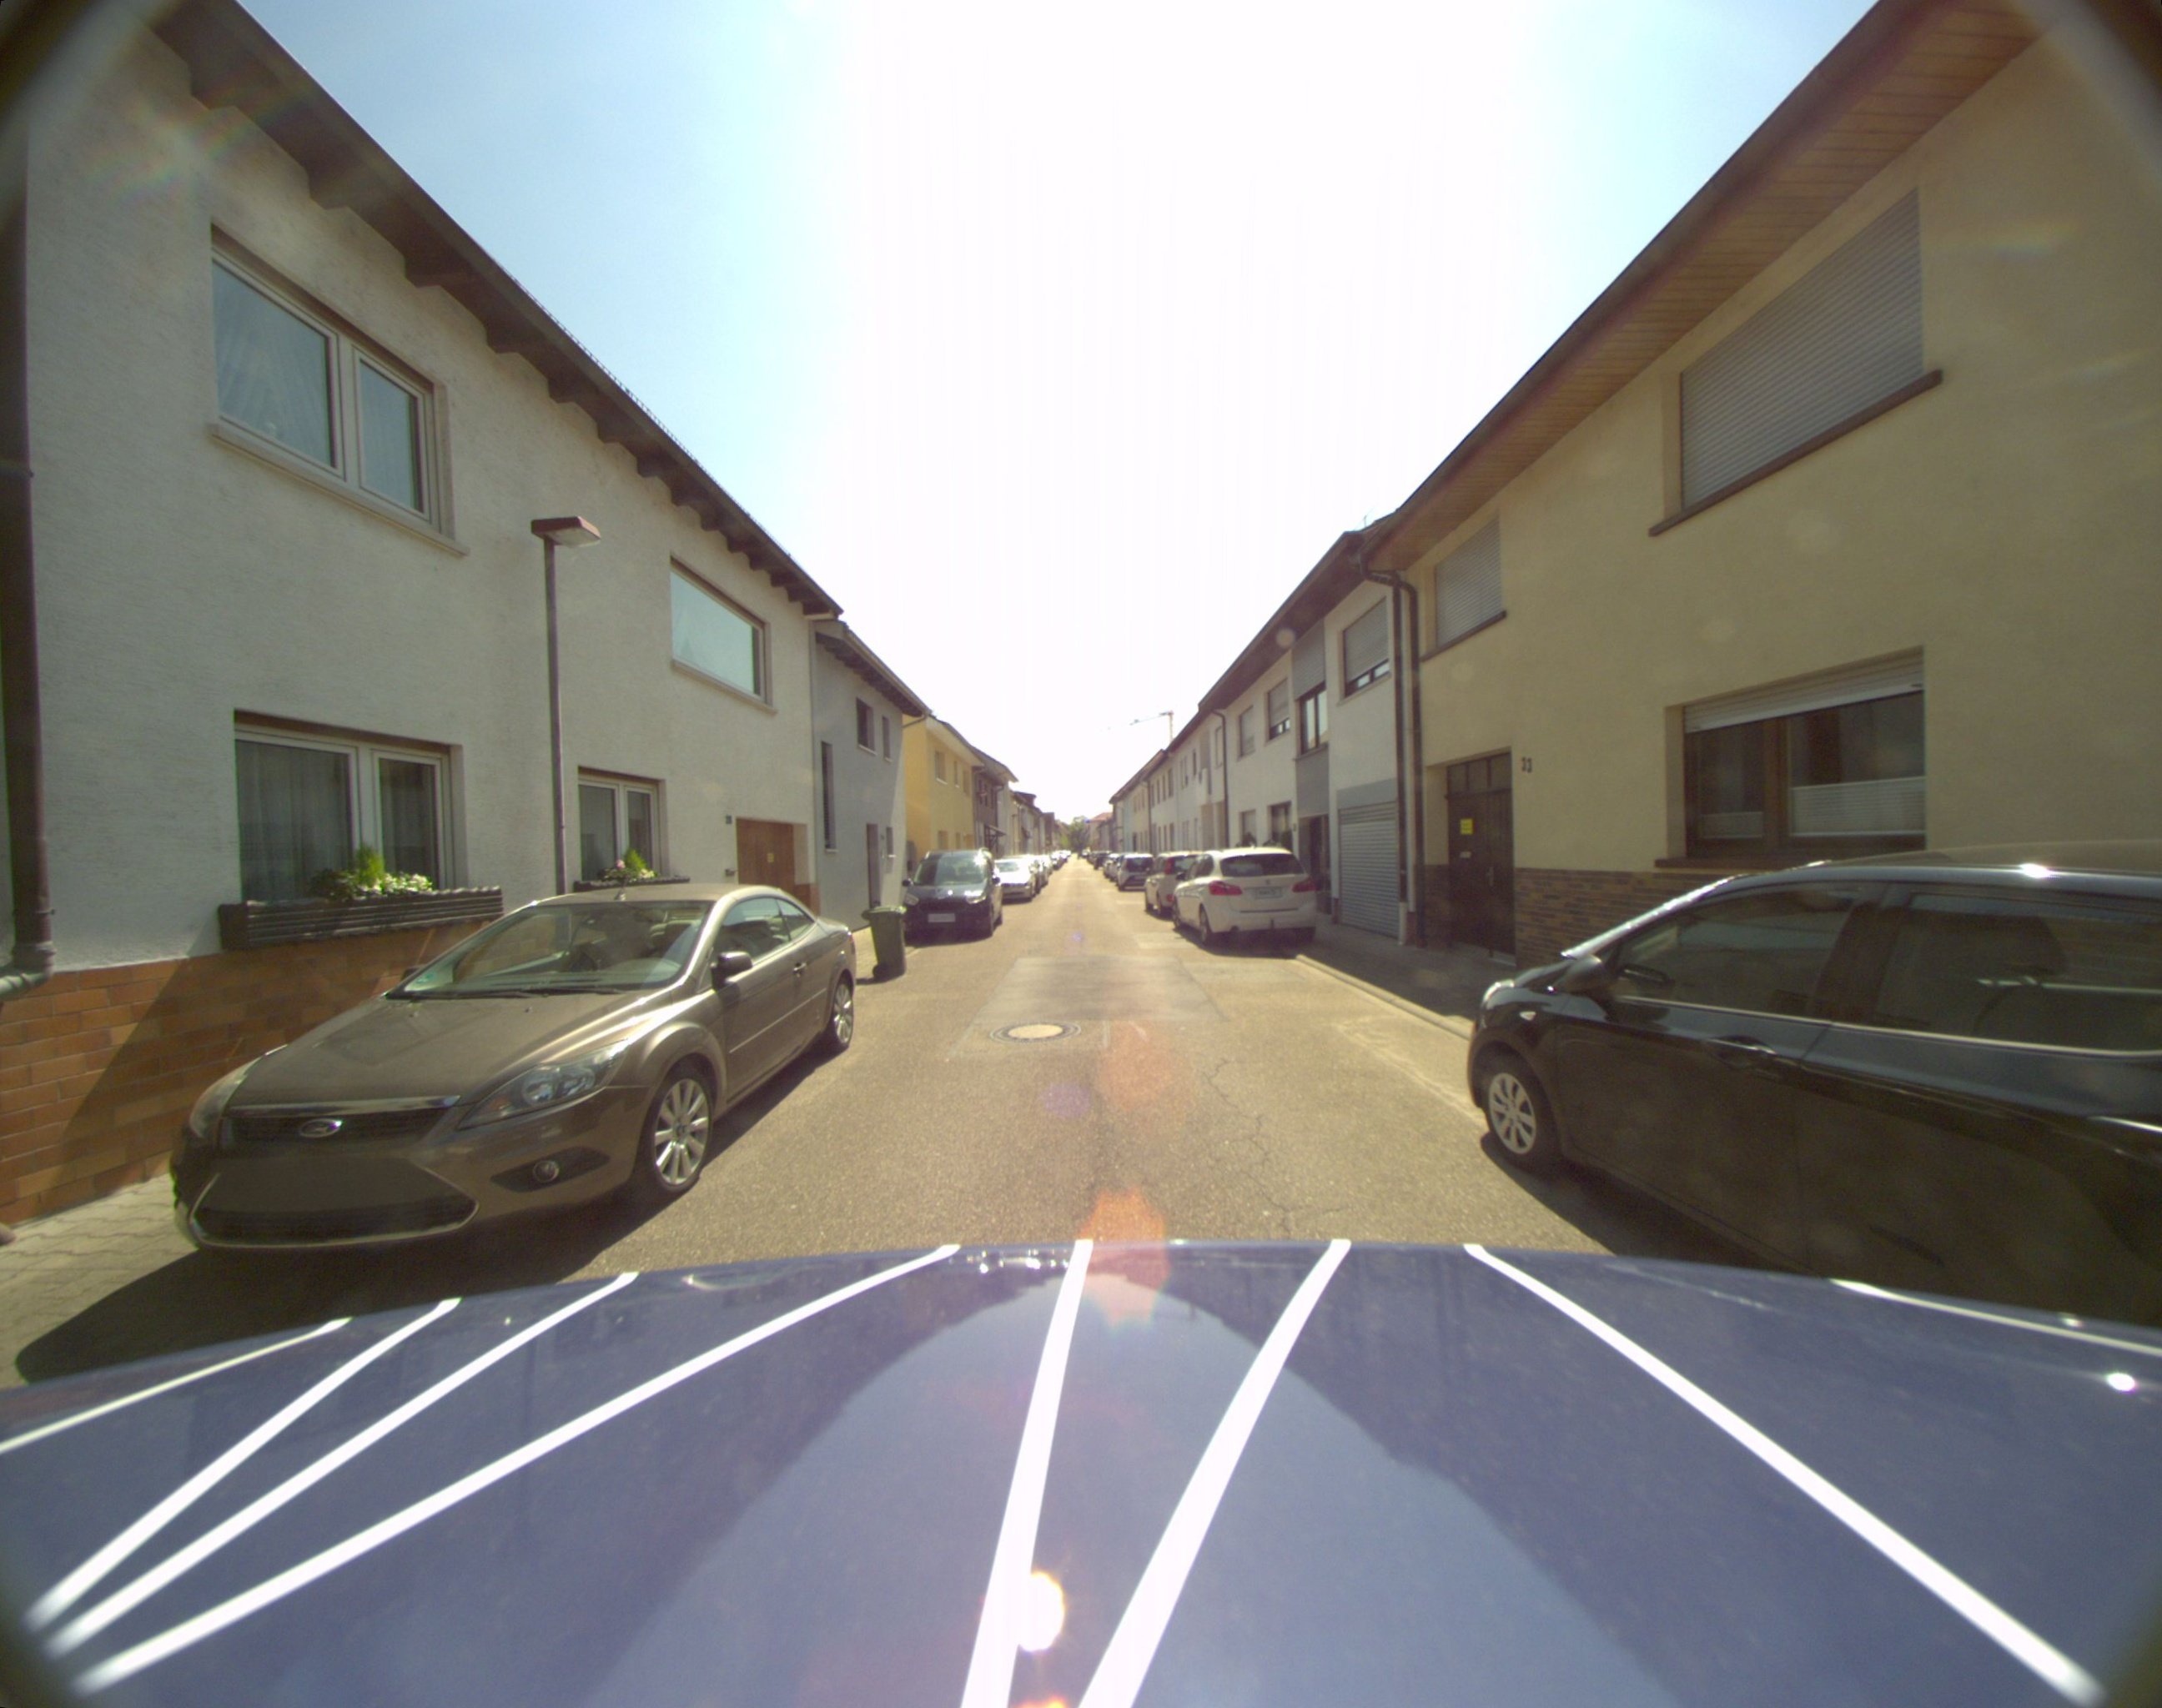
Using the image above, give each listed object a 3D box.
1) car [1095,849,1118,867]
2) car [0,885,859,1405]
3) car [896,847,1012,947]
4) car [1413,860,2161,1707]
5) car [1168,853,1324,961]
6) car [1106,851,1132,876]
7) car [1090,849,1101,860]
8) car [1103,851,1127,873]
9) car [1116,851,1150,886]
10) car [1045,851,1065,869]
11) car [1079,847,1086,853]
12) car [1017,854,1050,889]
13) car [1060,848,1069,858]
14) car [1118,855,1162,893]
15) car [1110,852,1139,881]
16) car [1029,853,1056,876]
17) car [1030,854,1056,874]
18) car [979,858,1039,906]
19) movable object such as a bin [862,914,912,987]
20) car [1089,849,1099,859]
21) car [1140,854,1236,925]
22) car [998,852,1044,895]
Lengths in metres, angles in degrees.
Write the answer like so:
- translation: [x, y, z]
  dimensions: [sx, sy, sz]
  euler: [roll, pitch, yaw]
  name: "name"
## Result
- translation: [2.272, 0.344, 68.544]
  dimensions: [1.819, 1.598, 3.886]
  euler: [-1, 1, -1]
  name: "car"
- translation: [-2.783, 1.048, 4.581]
  dimensions: [1.701, 1.427, 4.101]
  euler: [-3, 1, -1]
  name: "car"
- translation: [-2.512, 0.766, 15.981]
  dimensions: [1.701, 1.767, 4.198]
  euler: [-1, 1, 0]
  name: "car"
- translation: [2.799, 0.836, 2.433]
  dimensions: [1.644, 1.529, 3.941]
  euler: [-1, 1, -2]
  name: "car"
- translation: [2.702, 0.788, 13.347]
  dimensions: [1.667, 1.540, 3.940]
  euler: [-2, 1, -3]
  name: "car"
- translation: [2.315, 0.563, 47.033]
  dimensions: [1.414, 1.446, 3.542]
  euler: [-1, 1, 1]
  name: "car"
- translation: [2.063, 0.029, 109.082]
  dimensions: [1.414, 1.582, 3.323]
  euler: [-1, 1, 0]
  name: "car"
- translation: [2.335, 0.518, 52.878]
  dimensions: [1.414, 1.446, 3.542]
  euler: [-1, 1, -1]
  name: "car"
- translation: [2.443, 0.656, 36.302]
  dimensions: [1.414, 1.519, 3.025]
  euler: [-1, 1, 1]
  name: "car"
- translation: [-2.427, 0.527, 71.778]
  dimensions: [1.736, 1.502, 3.623]
  euler: [-3, 1, 0]
  name: "car"
- translation: [0.351, -0.918, 174.006]
  dimensions: [1.414, 1.389, 3.323]
  euler: [-1, 1, 0]
  name: "car"
- translation: [-2.276, 0.803, 37.306]
  dimensions: [1.403, 1.519, 3.397]
  euler: [-3, 1, -1]
  name: "car"
- translation: [-2.662, -0.212, 125.808]
  dimensions: [1.414, 1.604, 3.323]
  euler: [-1, 1, 0]
  name: "car"
- translation: [2.396, 0.781, 31.463]
  dimensions: [1.606, 1.434, 3.213]
  euler: [-1, 0, 1]
  name: "car"
- translation: [2.354, 0.658, 41.501]
  dimensions: [1.414, 1.446, 3.461]
  euler: [-1, 1, 1]
  name: "car"
- translation: [-2.681, 0.712, 53.351]
  dimensions: [1.743, 1.460, 4.044]
  euler: [-3, 1, -1]
  name: "car"
- translation: [-2.911, 0.714, 58.866]
  dimensions: [1.761, 1.352, 4.045]
  euler: [-3, 1, 0]
  name: "car"
- translation: [-2.399, 0.889, 26.196]
  dimensions: [1.666, 1.406, 4.247]
  euler: [-1, 1, 0]
  name: "car"
- translation: [-2.648, 1.308, 10.422]
  dimensions: [0.551, 0.886, 0.579]
  euler: [-3, 1, -7]
  name: "movable object such as a bin"
- translation: [1.981, 0.022, 116.213]
  dimensions: [1.414, 1.389, 3.323]
  euler: [-1, 1, 0]
  name: "car"
- translation: [2.557, 0.793, 18.894]
  dimensions: [1.667, 1.532, 3.687]
  euler: [-1, 1, -3]
  name: "car"
- translation: [-2.421, 0.757, 31.646]
  dimensions: [1.684, 1.575, 3.961]
  euler: [-3, 1, -2]
  name: "car"
